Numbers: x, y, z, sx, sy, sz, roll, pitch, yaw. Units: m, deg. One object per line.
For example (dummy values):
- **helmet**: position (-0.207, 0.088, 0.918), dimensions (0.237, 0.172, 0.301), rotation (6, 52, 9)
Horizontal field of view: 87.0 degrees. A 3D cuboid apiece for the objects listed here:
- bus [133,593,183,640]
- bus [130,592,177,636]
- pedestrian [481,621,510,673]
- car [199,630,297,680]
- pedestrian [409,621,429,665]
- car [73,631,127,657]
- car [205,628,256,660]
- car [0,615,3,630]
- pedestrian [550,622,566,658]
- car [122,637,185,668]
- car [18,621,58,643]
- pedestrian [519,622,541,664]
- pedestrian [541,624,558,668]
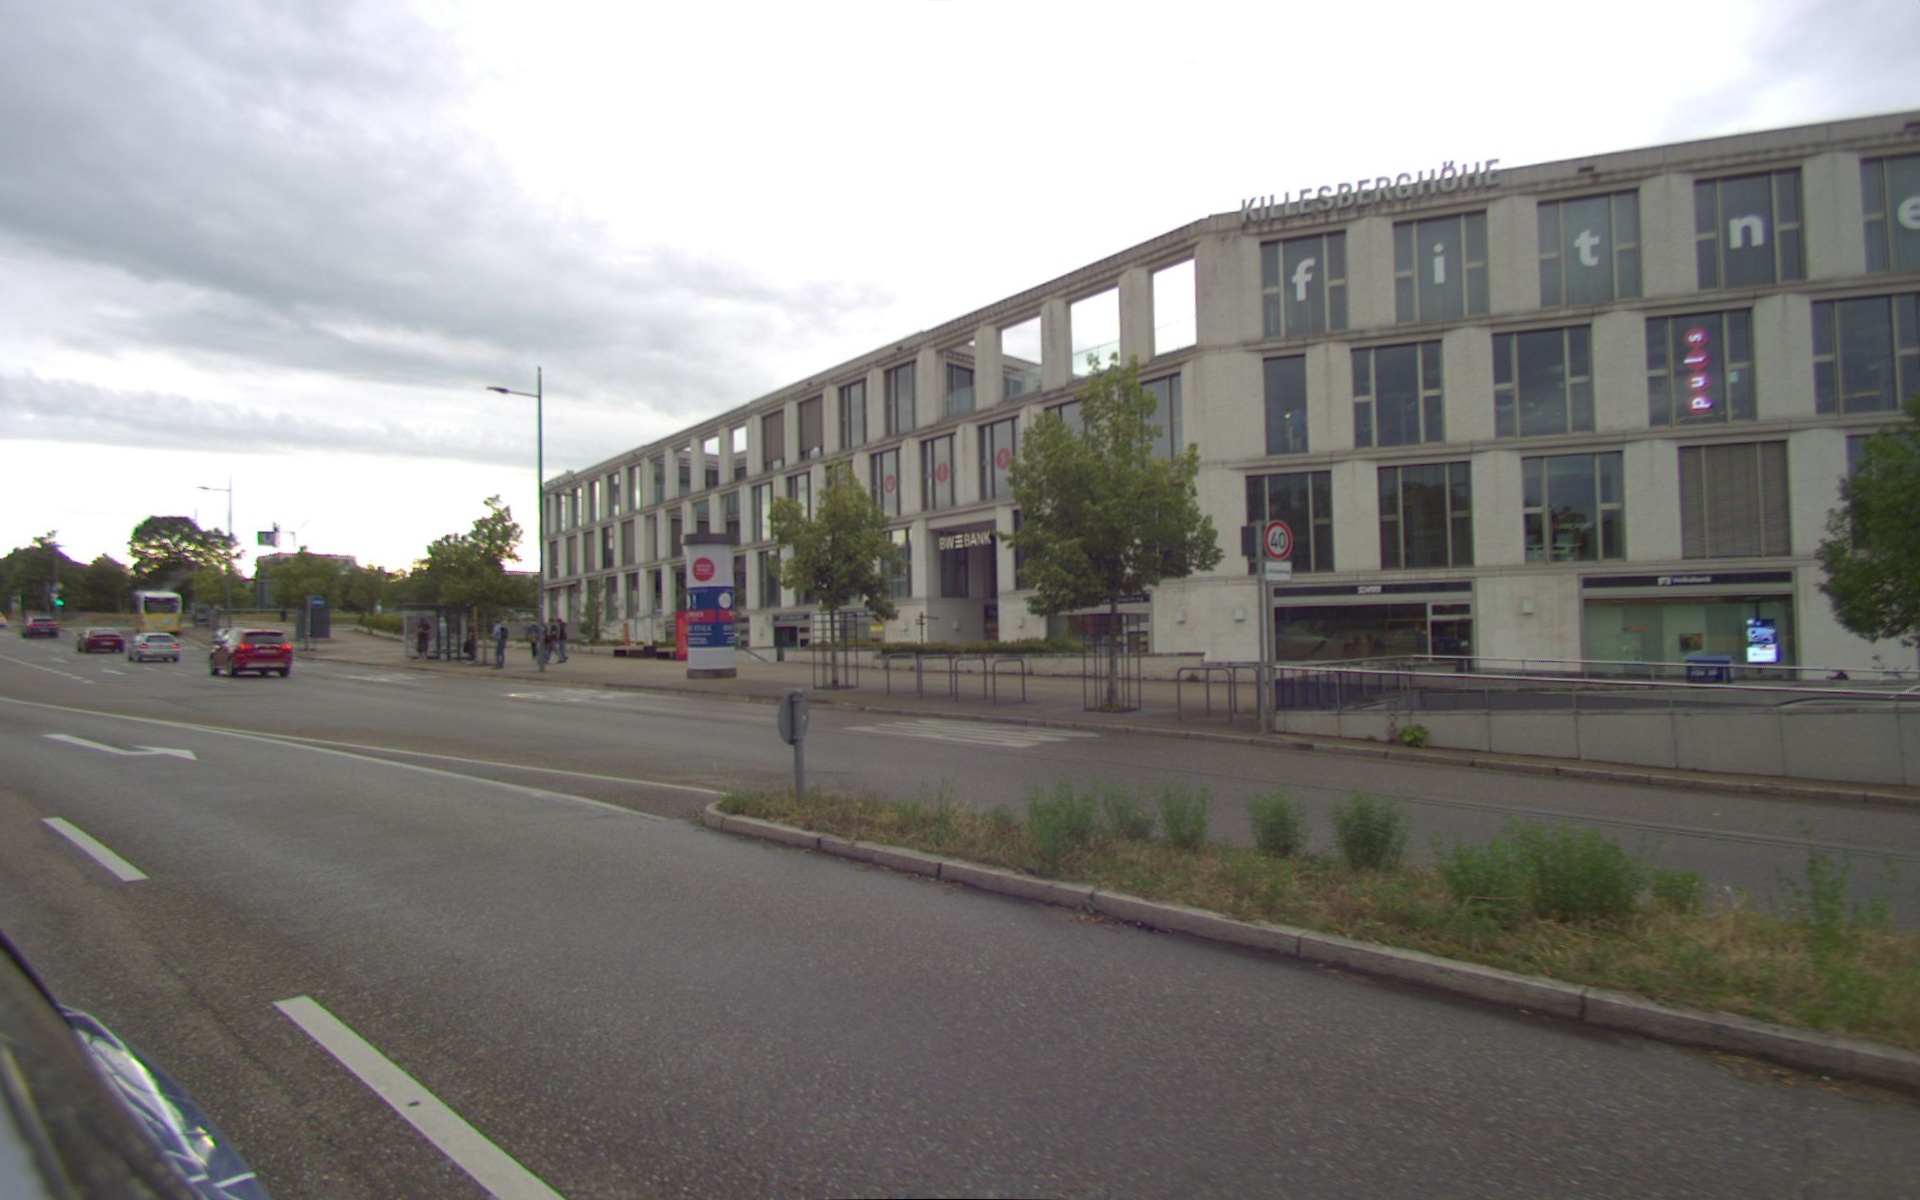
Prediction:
- **bus**: position (-64.117, 1.240, 80.854), dimensions (2.786, 3.498, 8.244), rotation (-1, 1, -40)
- **bus**: position (-70.062, 1.122, 87.813), dimensions (2.786, 3.498, 9.990), rotation (-1, 1, -40)
- **pedestrian**: position (-16.951, 1.712, 36.919), dimensions (0.747, 1.856, 0.744), rotation (-1, -1, 44)
- **car**: position (-25.674, 1.955, 36.437), dimensions (4.736, 1.696, 1.833), rotation (-2, -4, 42)
- **pedestrian**: position (-22.953, 1.801, 42.920), dimensions (0.755, 1.856, 0.502), rotation (-1, -1, 41)
- **car**: position (-50.363, 2.569, 59.238), dimensions (4.464, 1.427, 1.812), rotation (-2, -4, 42)
- **car**: position (-38.420, 2.303, 53.249), dimensions (2.972, 1.519, 1.596), rotation (0, 0, 42)
- **car**: position (-92.112, 2.099, 95.802), dimensions (4.175, 1.441, 1.853), rotation (0, -3, 42)
- **pedestrian**: position (-16.313, 1.617, 41.043), dimensions (0.510, 1.462, 0.421), rotation (-1, -1, 43)
- **car**: position (-39.198, 2.534, 49.146), dimensions (3.878, 1.427, 1.743), rotation (-2, -4, 42)
- **car**: position (-70.328, 2.437, 77.173), dimensions (4.593, 1.584, 1.812), rotation (0, -3, 42)
- **pedestrian**: position (-18.640, 1.850, 43.872), dimensions (0.857, 1.775, 0.591), rotation (-1, -1, 44)
- **pedestrian**: position (-16.182, 1.810, 39.903), dimensions (0.621, 1.738, 0.421), rotation (-1, -1, 43)
